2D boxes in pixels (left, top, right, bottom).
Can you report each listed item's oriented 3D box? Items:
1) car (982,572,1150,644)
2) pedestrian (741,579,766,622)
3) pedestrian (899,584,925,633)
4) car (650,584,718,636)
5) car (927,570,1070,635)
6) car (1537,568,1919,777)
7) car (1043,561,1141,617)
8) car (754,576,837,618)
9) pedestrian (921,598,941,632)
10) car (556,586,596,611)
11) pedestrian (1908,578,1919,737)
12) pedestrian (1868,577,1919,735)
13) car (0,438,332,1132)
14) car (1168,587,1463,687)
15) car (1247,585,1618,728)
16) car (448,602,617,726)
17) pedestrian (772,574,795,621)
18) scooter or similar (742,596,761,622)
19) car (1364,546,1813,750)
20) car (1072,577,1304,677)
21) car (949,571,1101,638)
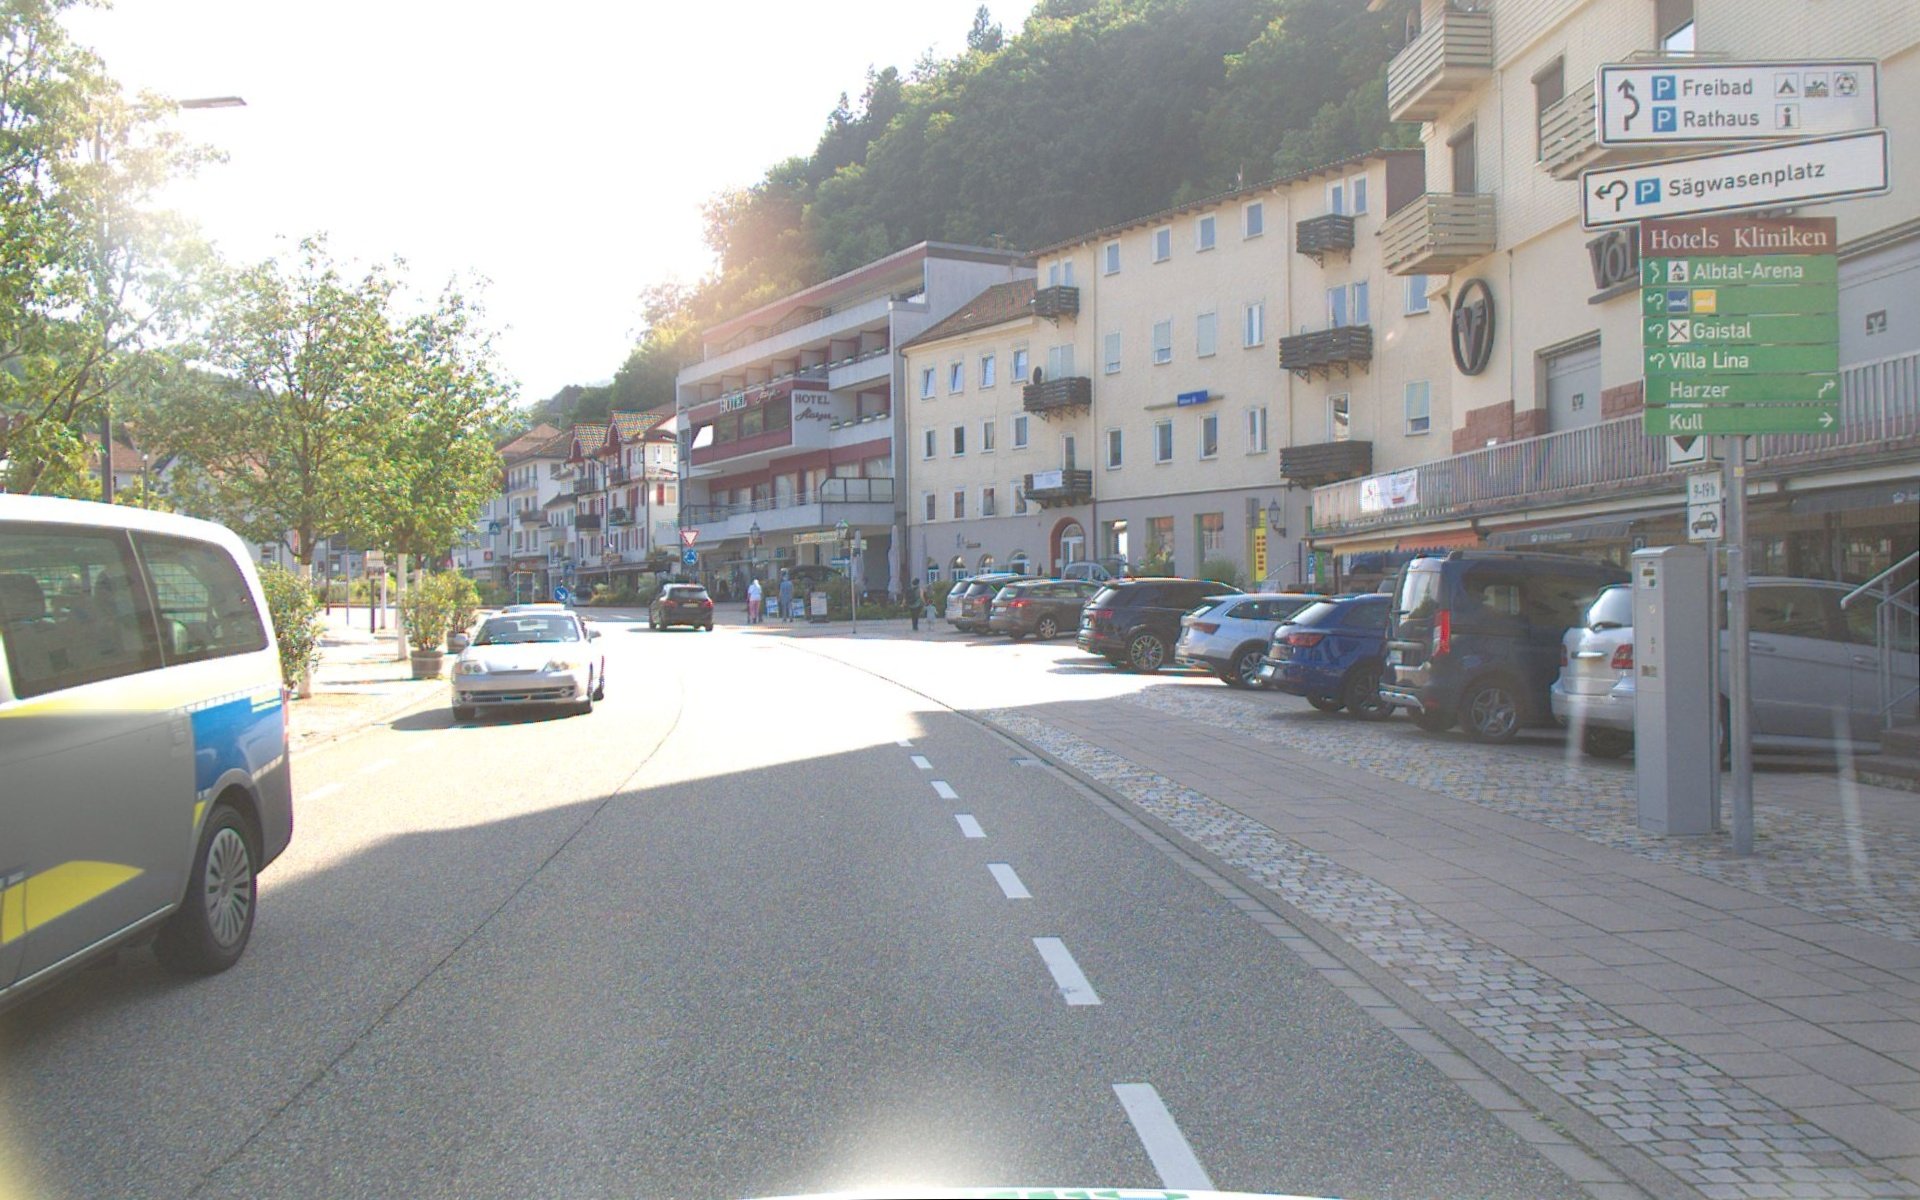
[{"bbox_3d":[2.748,0.174,42.815,3.959,1.542,1.759,-4,3,-25],"label":"car"},{"bbox_3d":[-7.813,0.012,62.581,0.748,1.621,0.623,0,0,-27],"label":"pedestrian"},{"bbox_3d":[-1.459,0.251,50.377,0.720,1.467,0.633,-3,1,0],"label":"pedestrian"},{"bbox_3d":[-9.418,0.319,56.217,1.701,1.602,3.733,-1,2,-19],"label":"car"},{"bbox_3d":[1.153,0.029,48.964,3.812,1.640,1.759,-4,3,-25],"label":"car"},{"bbox_3d":[7.197,0.595,14.201,3.832,1.617,1.773,2,0,-4],"label":"car"},{"bbox_3d":[5.012,-0.447,63.141,1.841,2.048,3.634,0,2,-34],"label":"car"},{"bbox_3d":[-6.838,-0.154,68.668,3.123,1.692,1.582,-1,0,-25],"label":"car"},{"bbox_3d":[-0.872,0.454,50.354,0.408,1.019,0.531,-2,1,19],"label":"pedestrian"},{"bbox_3d":[-25.722,-0.110,110.819,1.657,1.649,3.963,0,0,-28],"label":"car"},{"bbox_3d":[10.377,0.598,17.426,0.449,1.687,0.432,-3,0,-22],"label":"pedestrian"},{"bbox_3d":[10.274,0.600,18.084,0.403,1.687,0.435,-3,0,3],"label":"pedestrian"},{"bbox_3d":[-3.709,0.557,5.177,1.818,1.987,5.013,-2,0,-4],"label":"car"},{"bbox_3d":[5.538,0.575,26.095,4.268,1.486,1.772,1,-1,-2],"label":"car"},{"bbox_3d":[5.504,0.639,19.561,3.832,1.486,1.735,2,0,-4],"label":"car"},{"bbox_3d":[-5.626,0.781,22.177,1.597,1.394,4.057,-3,1,-7],"label":"car"},{"bbox_3d":[-6.683,-0.082,62.502,0.661,1.759,0.701,0,0,-26],"label":"pedestrian"},{"bbox_3d":[-7.896,0.347,62.749,0.589,0.967,0.470,0,0,-27],"label":"scooter or similar"},{"bbox_3d":[6.295,0.473,16.852,3.832,1.836,1.856,2,-1,-4],"label":"car"},{"bbox_3d":[4.223,0.488,30.990,4.003,1.695,1.771,2,0,-4],"label":"car"},{"bbox_3d":[1.814,0.088,46.168,3.812,1.576,1.759,-4,3,-25],"label":"car"}]
